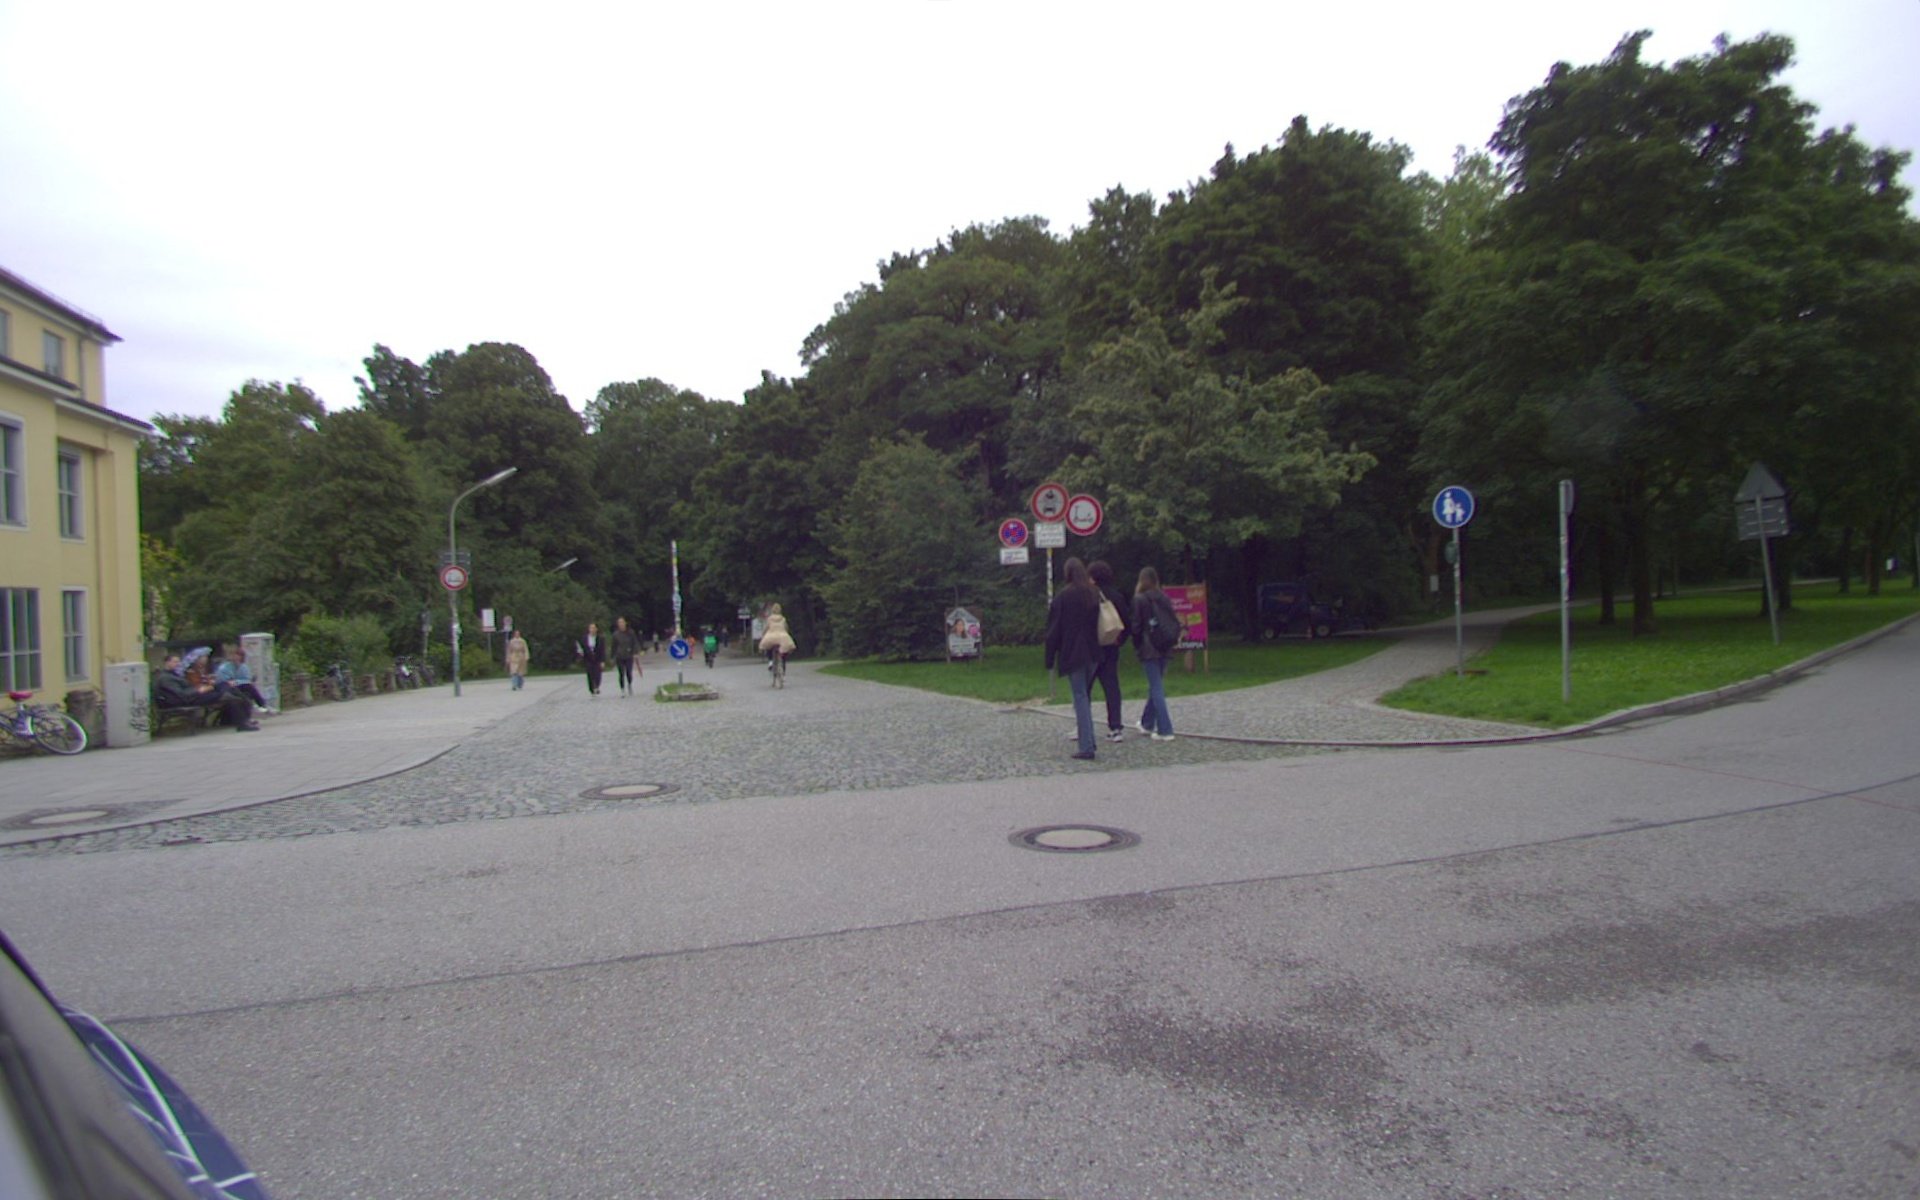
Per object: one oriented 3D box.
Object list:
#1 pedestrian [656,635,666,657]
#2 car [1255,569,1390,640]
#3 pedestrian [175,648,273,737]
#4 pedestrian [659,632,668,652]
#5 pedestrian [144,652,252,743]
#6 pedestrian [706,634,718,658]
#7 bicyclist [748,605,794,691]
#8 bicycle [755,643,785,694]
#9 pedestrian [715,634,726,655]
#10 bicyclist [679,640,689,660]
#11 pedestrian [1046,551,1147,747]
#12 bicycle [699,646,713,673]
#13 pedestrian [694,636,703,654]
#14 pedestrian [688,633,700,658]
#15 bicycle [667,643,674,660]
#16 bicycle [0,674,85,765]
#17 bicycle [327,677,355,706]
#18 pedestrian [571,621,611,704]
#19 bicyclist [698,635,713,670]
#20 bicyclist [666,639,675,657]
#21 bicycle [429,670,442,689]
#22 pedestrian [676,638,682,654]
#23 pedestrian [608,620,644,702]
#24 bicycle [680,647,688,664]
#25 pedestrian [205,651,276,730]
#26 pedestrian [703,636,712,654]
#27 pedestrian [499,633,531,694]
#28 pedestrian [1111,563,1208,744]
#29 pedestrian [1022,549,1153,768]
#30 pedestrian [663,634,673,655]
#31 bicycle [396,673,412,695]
[{"bbox_3d":[-24.256,3.747,82.176,0.675,1.685,0.776,-3,-3,-17],"label":"pedestrian"},{"bbox_3d":[11.912,0.143,33.553,3.929,2.120,1.897,-3,0,14],"label":"car"},{"bbox_3d":[-11.861,1.483,16.340,1.158,1.303,0.641,-3,-3,-28],"label":"pedestrian"},{"bbox_3d":[-25.813,3.700,88.207,0.675,1.685,0.776,-3,-3,-17],"label":"pedestrian"},{"bbox_3d":[-11.592,1.464,15.432,1.196,1.257,0.641,-3,-3,-28],"label":"pedestrian"},{"bbox_3d":[-17.856,3.308,72.936,0.675,1.685,0.776,-3,-3,-17],"label":"pedestrian"},{"bbox_3d":[-4.181,1.039,22.337,0.842,1.816,0.769,-2,0,-17],"label":"bicyclist"},{"bbox_3d":[-4.222,1.498,22.438,0.475,1.049,1.951,-1,-1,-15],"label":"bicycle"},{"bbox_3d":[-19.449,3.620,82.128,0.675,1.685,0.776,-3,-3,-17],"label":"pedestrian"},{"bbox_3d":[-18.844,3.397,69.064,0.554,1.275,0.764,-1,1,-17],"label":"bicyclist"},{"bbox_3d":[1.387,0.495,10.387,0.696,1.918,0.806,0,-3,-17],"label":"pedestrian"},{"bbox_3d":[-10.519,2.448,41.858,0.456,1.068,1.767,-1,-3,-17],"label":"bicycle"},{"bbox_3d":[-25.106,4.338,97.066,0.730,1.685,0.924,-3,-3,-17],"label":"pedestrian"},{"bbox_3d":[-18.232,3.118,69.265,0.675,1.685,0.776,-3,-3,-17],"label":"pedestrian"},{"bbox_3d":[-21.674,3.851,75.808,0.456,1.067,1.767,-1,1,-17],"label":"bicycle"},{"bbox_3d":[-11.540,1.453,12.368,0.303,1.046,1.655,-1,-3,-3],"label":"bicycle"},{"bbox_3d":[-15.328,2.259,25.080,0.212,0.681,0.910,0,-3,-6],"label":"bicycle"},{"bbox_3d":[-7.826,1.331,21.495,0.675,1.685,0.776,-3,-3,-17],"label":"pedestrian"},{"bbox_3d":[-10.531,2.177,41.848,0.554,1.385,0.764,-1,-3,-17],"label":"bicyclist"},{"bbox_3d":[-21.680,3.598,75.818,0.554,1.275,0.764,-1,1,-17],"label":"bicyclist"},{"bbox_3d":[-18.716,2.844,36.129,0.238,0.662,0.911,0,-3,-17],"label":"bicycle"},{"bbox_3d":[-23.437,3.870,84.463,0.463,1.275,0.449,-1,1,-17],"label":"pedestrian"},{"bbox_3d":[-7.186,1.309,21.767,0.628,1.685,0.776,-3,-3,-17],"label":"pedestrian"},{"bbox_3d":[-18.813,3.777,68.985,0.456,1.067,1.767,-1,1,-17],"label":"bicycle"},{"bbox_3d":[-12.042,1.509,16.968,0.872,1.244,0.552,-3,-3,-28],"label":"pedestrian"},{"bbox_3d":[-24.287,4.318,97.232,0.730,1.685,0.924,-3,-3,-17],"label":"pedestrian"},{"bbox_3d":[-12.964,1.842,29.495,0.643,1.699,0.978,-3,-3,-17],"label":"pedestrian"},{"bbox_3d":[2.059,0.547,10.540,0.624,1.795,0.803,0,-3,-17],"label":"pedestrian"},{"bbox_3d":[1.127,0.515,9.196,0.739,1.847,1.118,0,-3,-17],"label":"pedestrian"},{"bbox_3d":[-24.496,3.716,84.948,0.675,1.685,0.776,-3,-3,-17],"label":"pedestrian"},{"bbox_3d":[-17.452,2.631,31.760,0.212,0.681,0.911,0,-3,-15],"label":"bicycle"}]
